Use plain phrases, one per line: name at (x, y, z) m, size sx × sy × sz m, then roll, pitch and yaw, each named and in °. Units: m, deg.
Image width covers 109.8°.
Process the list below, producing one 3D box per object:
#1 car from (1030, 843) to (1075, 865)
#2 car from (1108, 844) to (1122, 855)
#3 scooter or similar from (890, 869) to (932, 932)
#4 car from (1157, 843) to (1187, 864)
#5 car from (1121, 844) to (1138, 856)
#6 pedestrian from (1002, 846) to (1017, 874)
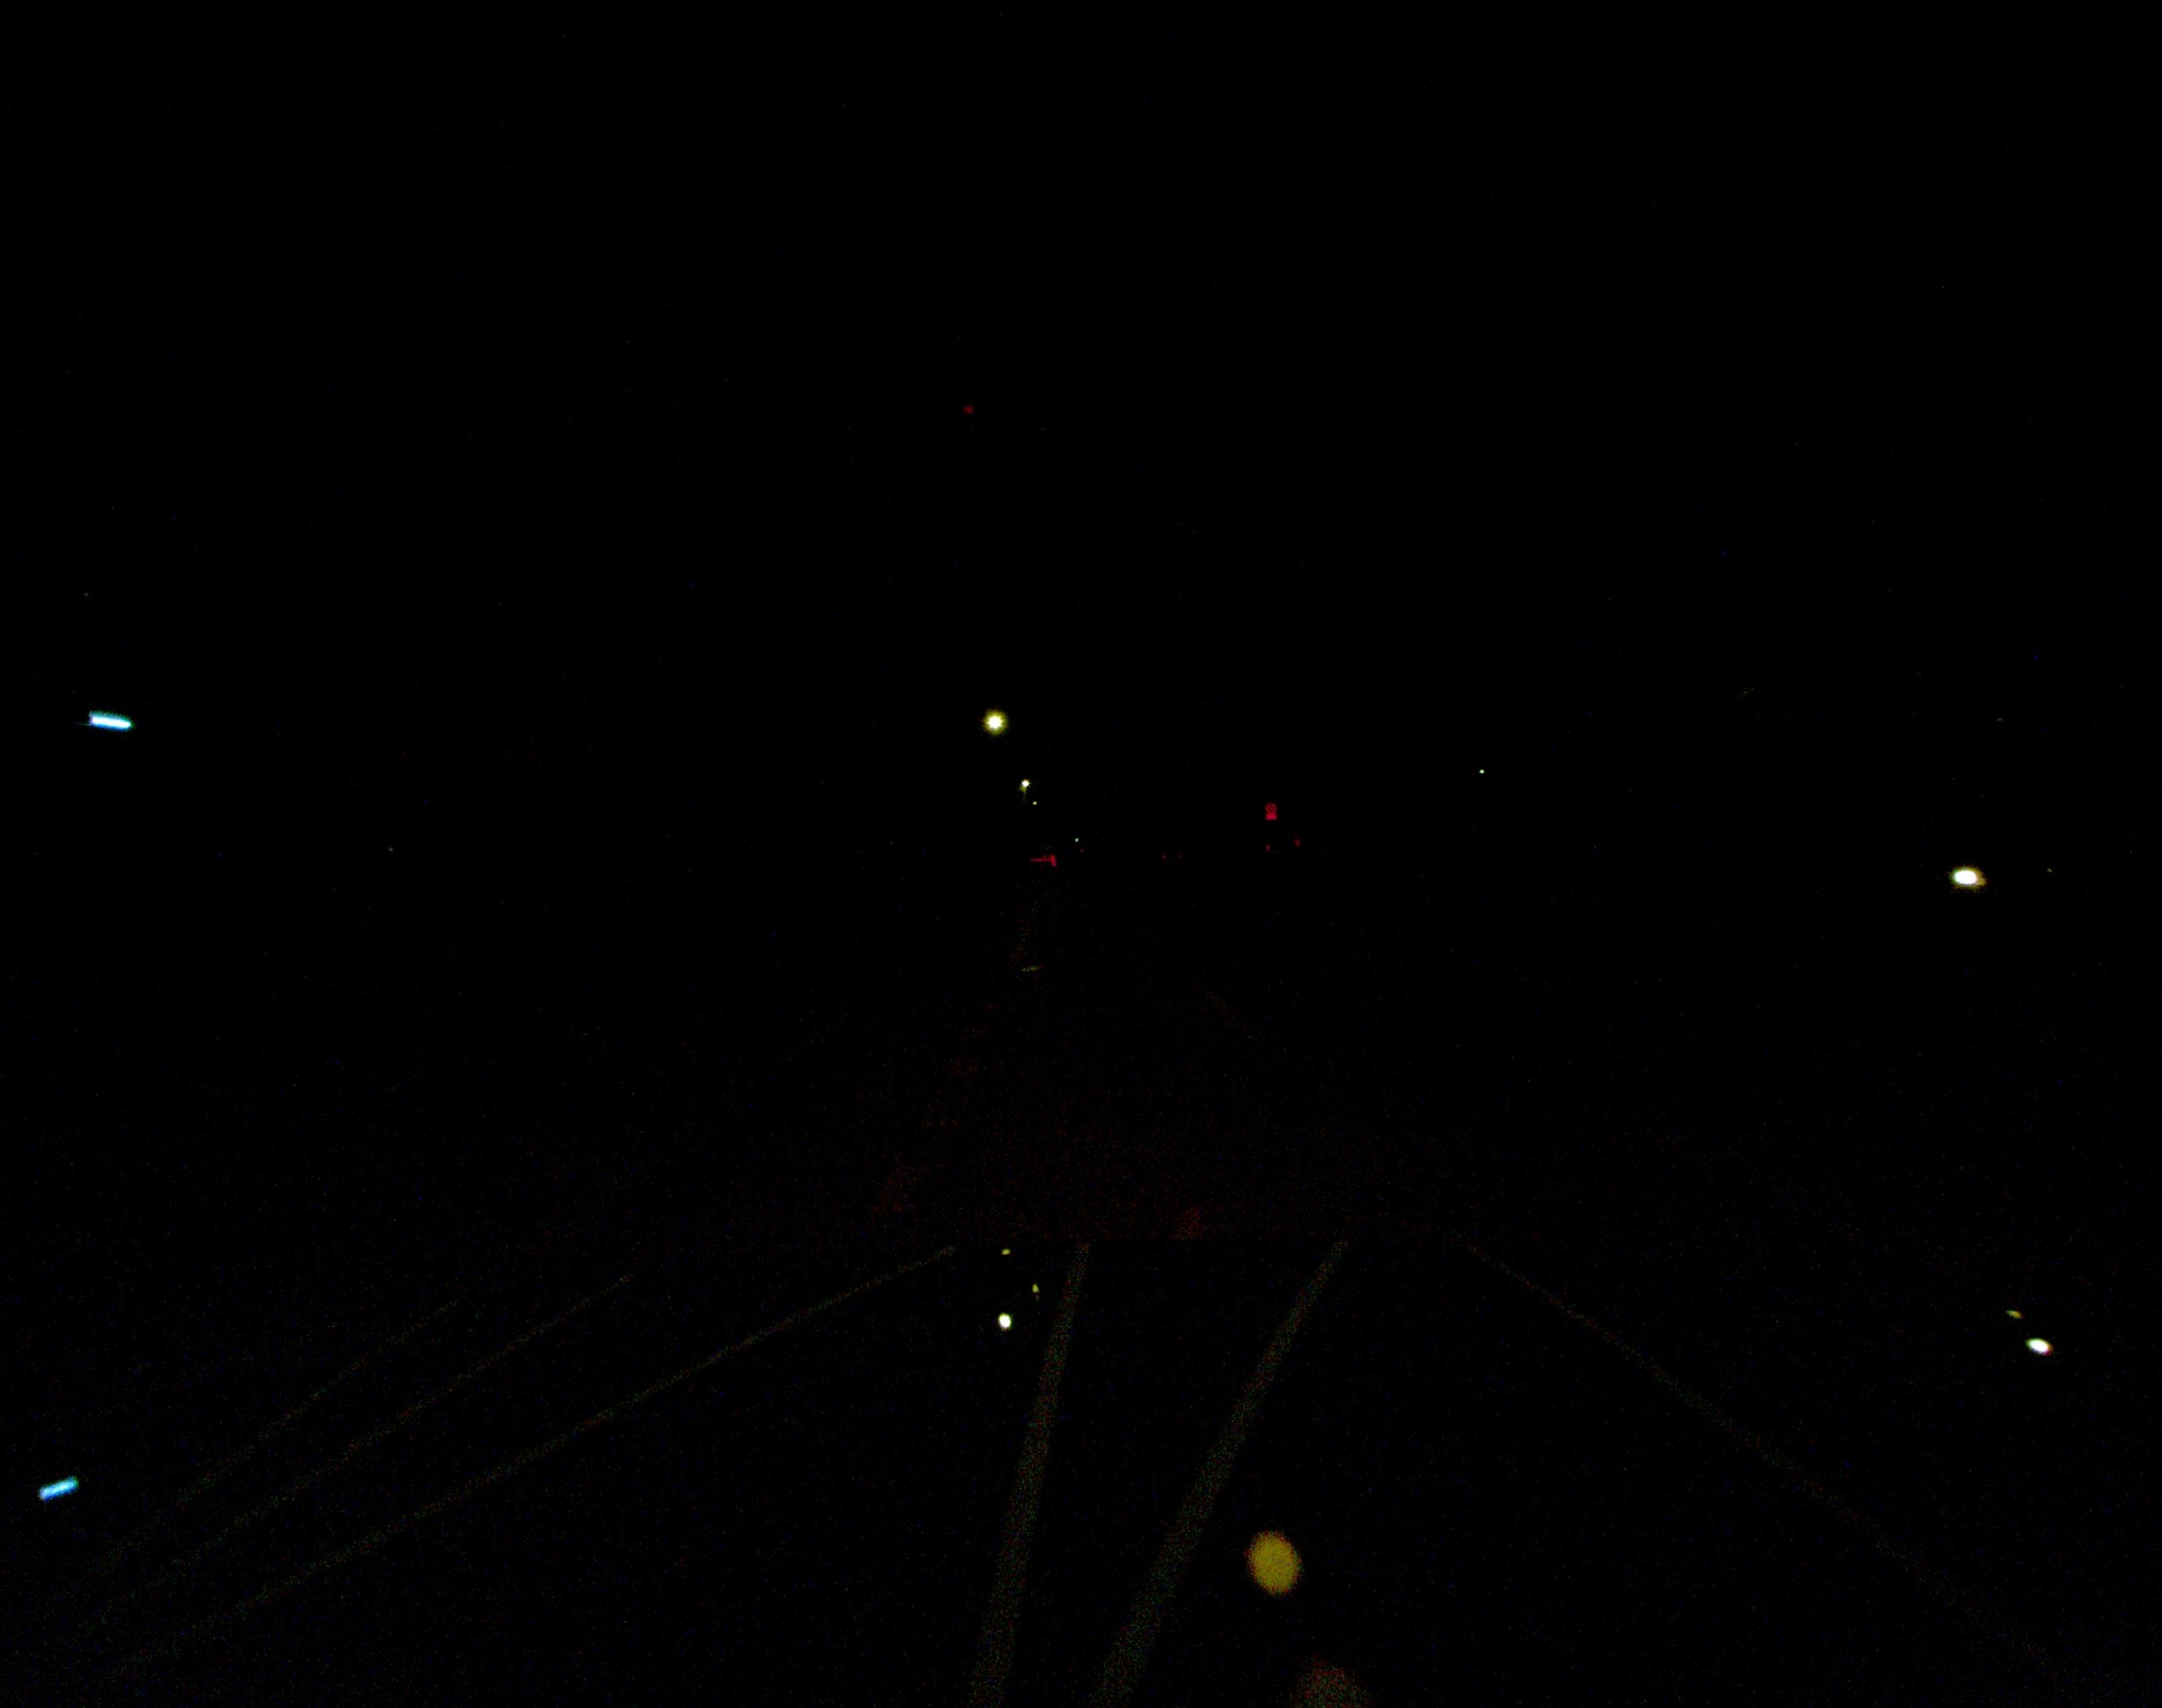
car at (-2.624, 0.003, 70.803) m, size 3.997 × 1.821 × 1.912 m, roll -3°, pitch 2°, yaw 0°
car at (5.252, -0.716, 118.302) m, size 1.911 × 1.445 × 3.999 m, roll -3°, pitch 2°, yaw 1°
scooter or similar at (-3.635, 0.966, 16.337) m, size 0.570 × 1.271 × 1.391 m, roll 0°, pitch 0°, yaw 0°
car at (7.251, -0.050, 61.017) m, size 1.911 × 1.445 × 3.999 m, roll -3°, pitch 2°, yaw 1°
car at (6.411, -0.557, 100.417) m, size 1.911 × 1.445 × 3.999 m, roll -3°, pitch 2°, yaw 1°
pedestrian at (-4.781, 0.389, 50.953) m, size 0.824 × 1.809 × 0.608 m, roll -3°, pitch 2°, yaw 1°
